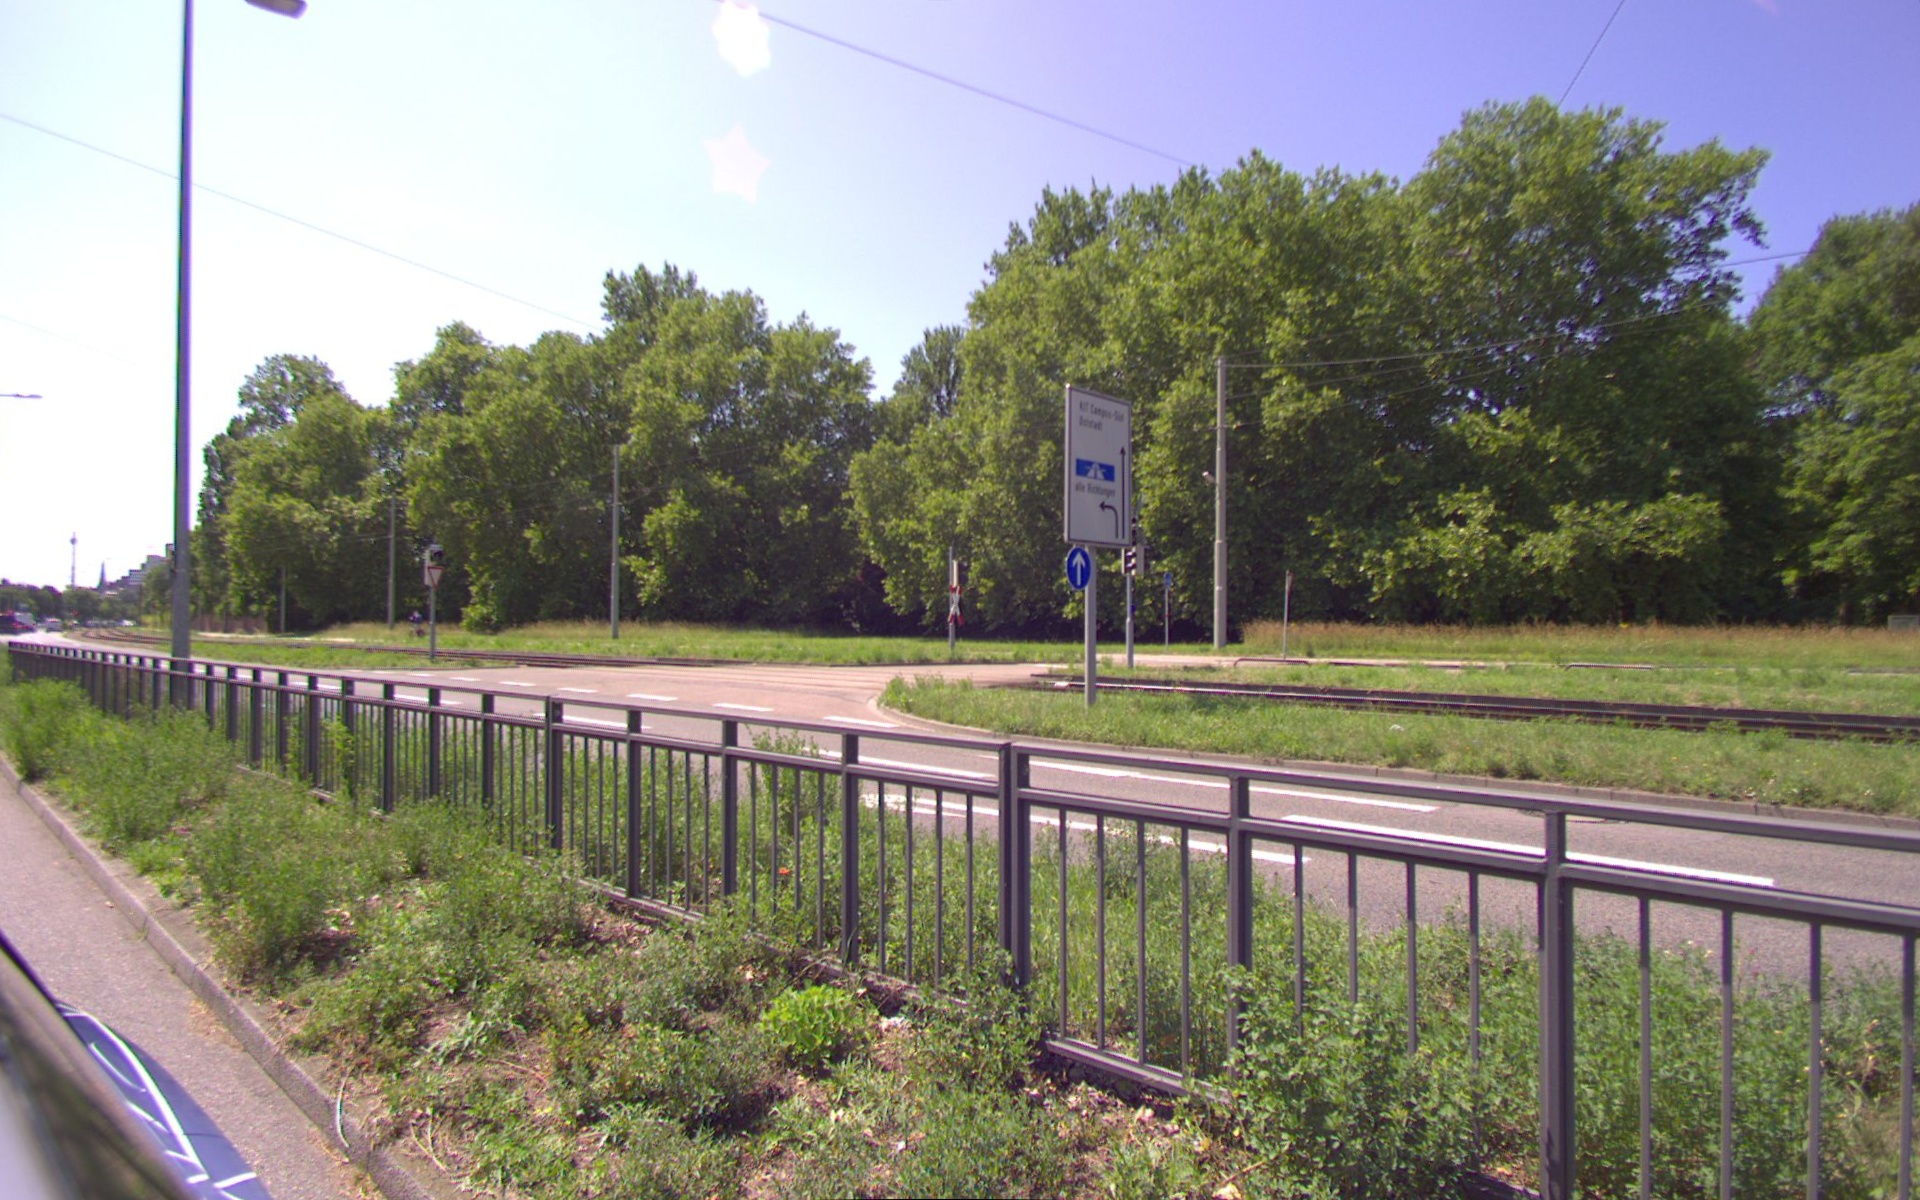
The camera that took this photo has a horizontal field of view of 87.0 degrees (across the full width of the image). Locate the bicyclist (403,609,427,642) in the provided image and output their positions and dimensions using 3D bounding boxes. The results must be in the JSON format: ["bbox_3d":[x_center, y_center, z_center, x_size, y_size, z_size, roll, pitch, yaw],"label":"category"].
[{"bbox_3d":[-30.907,1.431,57.393,1.117,1.820,0.851,-1,-2,41],"label":"bicyclist"}]

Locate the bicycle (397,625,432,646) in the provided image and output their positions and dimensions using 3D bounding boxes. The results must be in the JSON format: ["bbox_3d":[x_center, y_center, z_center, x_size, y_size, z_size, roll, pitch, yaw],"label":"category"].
[{"bbox_3d":[-30.961,2.011,57.396,2.785,1.171,0.851,-1,-2,41],"label":"bicycle"}]

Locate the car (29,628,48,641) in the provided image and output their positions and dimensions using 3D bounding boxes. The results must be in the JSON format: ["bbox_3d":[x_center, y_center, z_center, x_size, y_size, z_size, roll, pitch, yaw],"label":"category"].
[{"bbox_3d":[-141.692,5.299,155.591,1.970,1.871,4.003,1,-2,-44],"label":"car"}]

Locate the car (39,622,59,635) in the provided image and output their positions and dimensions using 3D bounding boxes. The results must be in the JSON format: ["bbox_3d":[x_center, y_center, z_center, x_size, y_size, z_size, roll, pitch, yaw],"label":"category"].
[{"bbox_3d":[-135.448,4.179,150.461,1.970,1.871,4.003,1,-2,-44],"label":"car"}]

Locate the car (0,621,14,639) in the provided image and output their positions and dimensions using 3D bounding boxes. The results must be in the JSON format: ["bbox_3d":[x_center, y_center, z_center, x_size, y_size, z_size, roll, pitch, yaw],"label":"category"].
[{"bbox_3d":[-105.439,3.299,111.323,1.970,1.871,4.004,1,-2,-43],"label":"car"}]
